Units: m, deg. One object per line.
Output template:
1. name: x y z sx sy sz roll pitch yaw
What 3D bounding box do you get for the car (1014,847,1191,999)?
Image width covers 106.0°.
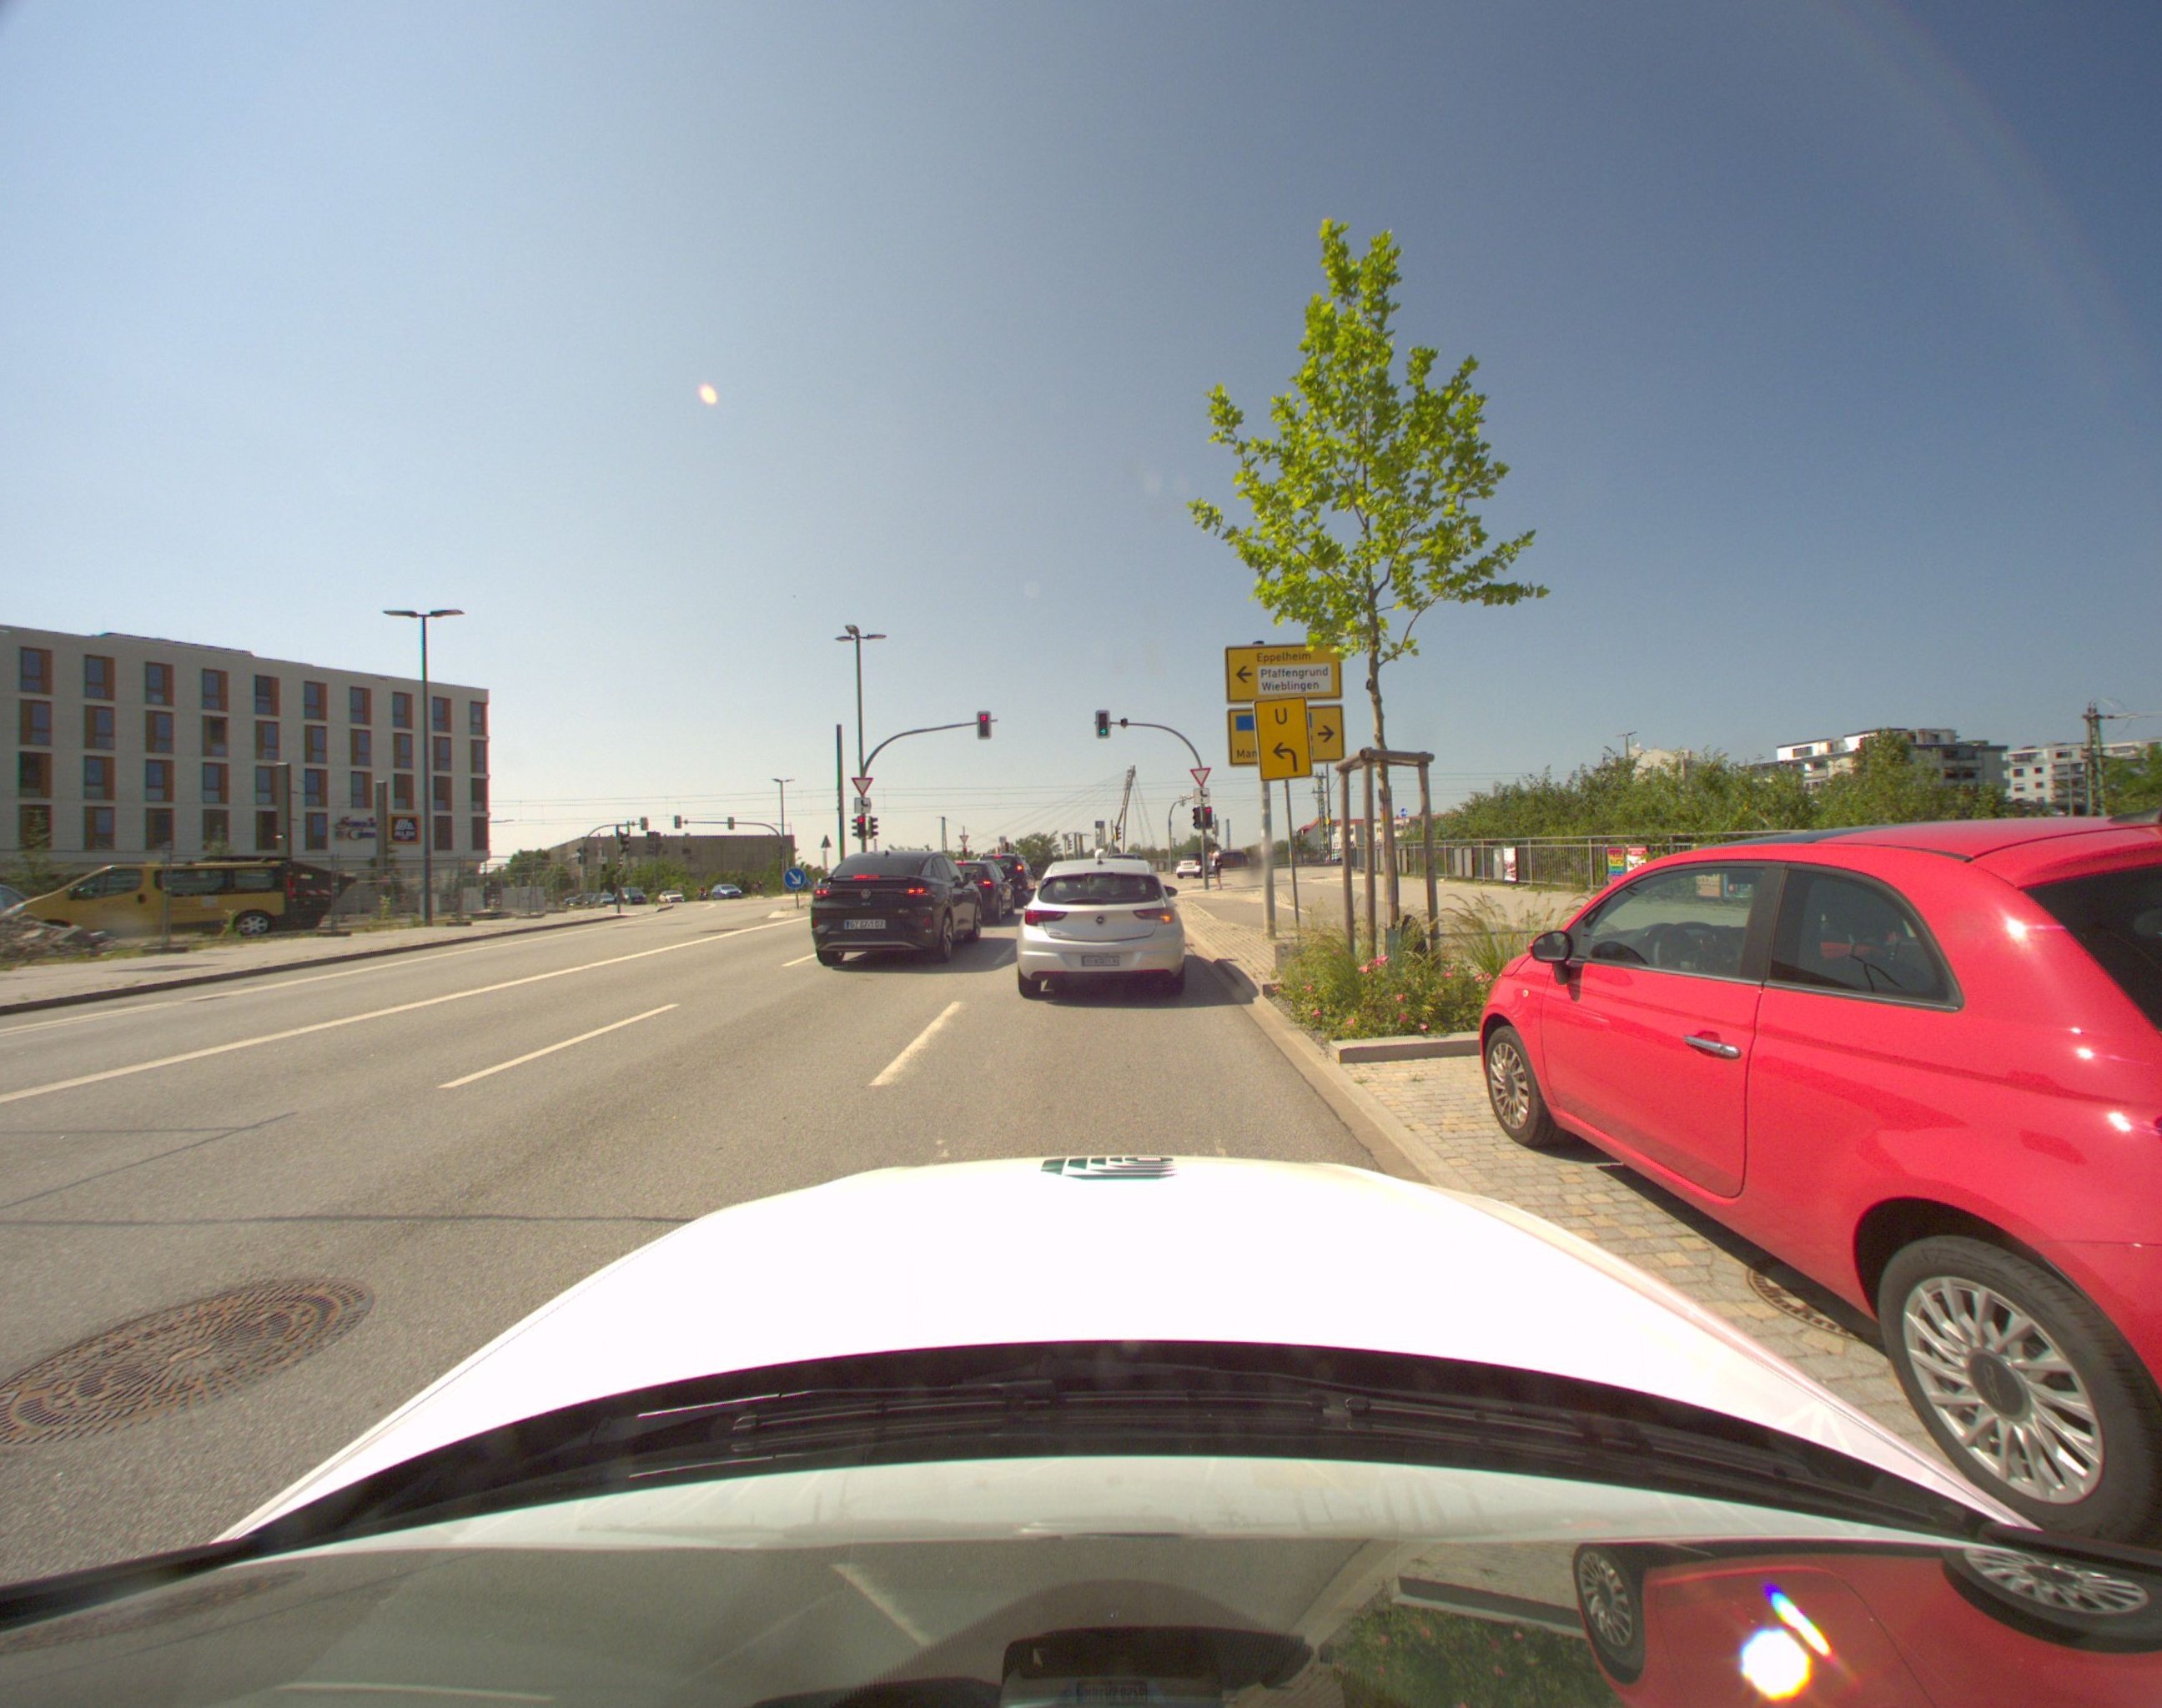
1. car: 0.218 0.695 10.030 1.737 1.478 3.999 0 -1 0

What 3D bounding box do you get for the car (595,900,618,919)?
1. car: -43.471 5.057 74.582 1.578 1.587 3.442 0 -1 -35

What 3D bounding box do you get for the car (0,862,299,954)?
1. car: -22.529 1.196 19.973 1.964 1.962 4.655 -1 -1 41

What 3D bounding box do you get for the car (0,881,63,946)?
1. car: -30.976 1.686 22.236 1.872 1.774 4.620 0 -1 -21

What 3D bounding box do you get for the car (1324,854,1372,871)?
1. car: 23.385 0.727 71.360 3.627 1.486 1.683 0 -1 -13

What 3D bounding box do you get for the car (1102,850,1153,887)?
1. car: 2.176 0.605 37.045 1.712 1.563 4.013 0 1 12

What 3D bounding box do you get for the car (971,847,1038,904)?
1. car: -2.283 0.633 25.117 1.644 1.615 3.820 0 -1 0

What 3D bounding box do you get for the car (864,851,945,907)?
1. car: -5.248 0.719 24.657 1.592 1.547 3.762 0 -1 0

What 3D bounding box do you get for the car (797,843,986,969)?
1. car: -2.739 0.696 12.850 1.794 1.641 4.368 0 -1 2

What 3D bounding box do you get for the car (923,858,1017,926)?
1. car: -2.506 0.830 19.201 1.569 1.434 3.787 0 -1 2

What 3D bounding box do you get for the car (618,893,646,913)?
1. car: -37.758 4.108 68.466 1.686 1.476 3.369 -2 0 -36

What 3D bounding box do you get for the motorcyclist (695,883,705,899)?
1. motorcyclist: -36.461 3.569 77.842 0.756 1.494 0.670 0 -1 -35

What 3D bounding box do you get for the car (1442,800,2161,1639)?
1. car: 2.811 0.618 2.975 1.603 1.496 3.356 -4 0 4

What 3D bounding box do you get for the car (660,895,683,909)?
1. car: -43.590 5.049 86.678 1.617 1.339 2.892 0 -1 -38

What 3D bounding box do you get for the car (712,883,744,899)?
1. car: -32.323 3.396 74.584 1.831 1.331 3.955 0 -2 -37

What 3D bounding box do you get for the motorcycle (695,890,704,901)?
1. motorcycle: -36.476 3.924 77.821 0.523 0.955 1.914 0 -1 -34

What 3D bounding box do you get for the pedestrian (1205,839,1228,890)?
1. pedestrian: 5.054 0.377 30.380 0.645 1.836 0.798 -3 -1 0
